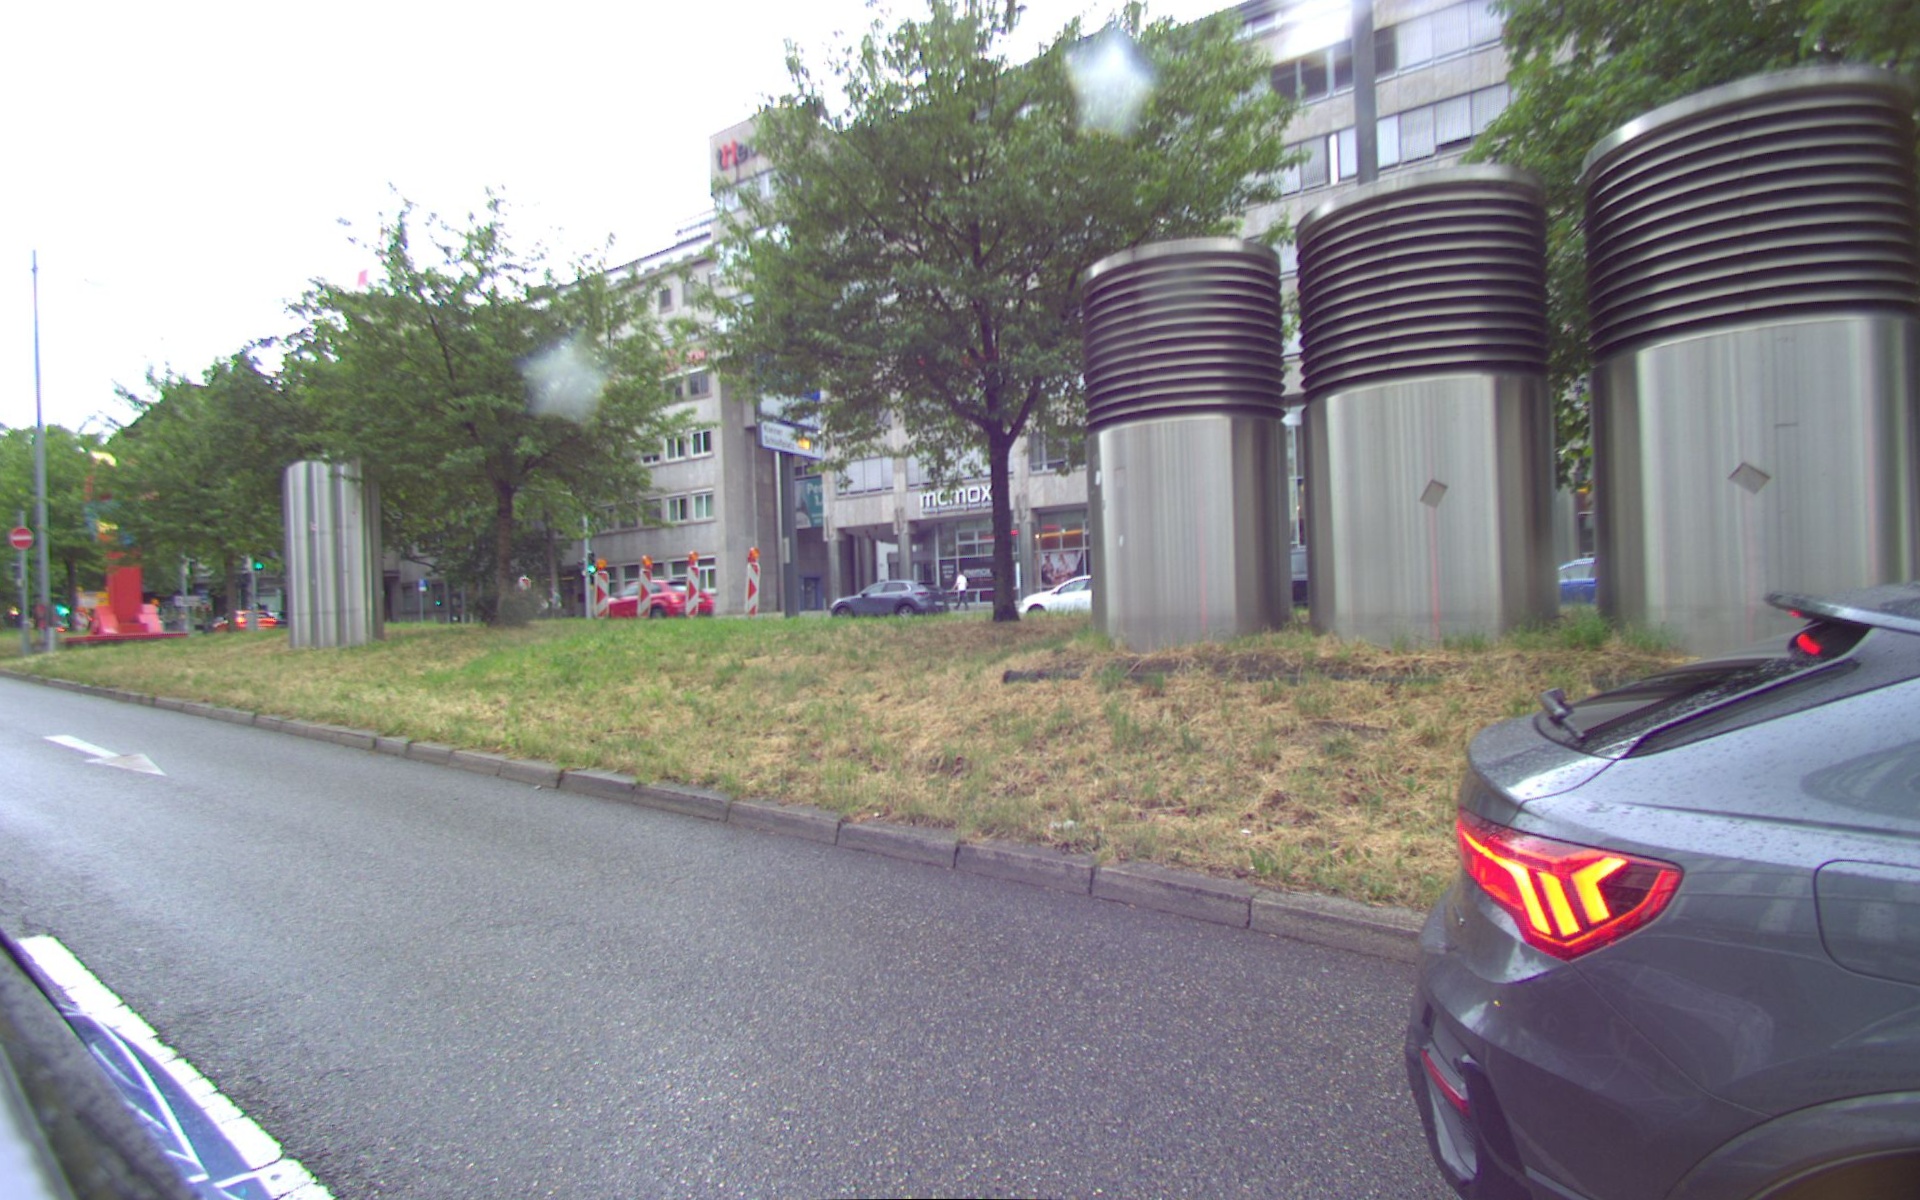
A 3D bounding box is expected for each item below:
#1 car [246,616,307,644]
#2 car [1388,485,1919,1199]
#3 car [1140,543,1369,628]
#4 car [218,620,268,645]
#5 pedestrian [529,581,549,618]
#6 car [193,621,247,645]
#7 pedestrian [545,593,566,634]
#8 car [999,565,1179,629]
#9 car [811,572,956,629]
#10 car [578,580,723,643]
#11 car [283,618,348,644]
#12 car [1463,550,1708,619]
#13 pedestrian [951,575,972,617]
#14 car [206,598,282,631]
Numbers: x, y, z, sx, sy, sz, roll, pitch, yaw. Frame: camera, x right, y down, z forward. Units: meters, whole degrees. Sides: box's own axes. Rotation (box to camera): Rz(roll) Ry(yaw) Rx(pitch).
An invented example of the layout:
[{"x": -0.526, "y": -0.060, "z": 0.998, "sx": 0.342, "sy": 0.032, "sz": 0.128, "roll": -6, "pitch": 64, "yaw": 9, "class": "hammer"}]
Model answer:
[{"x": -42.883, "y": 1.912, "z": 63.471, "sx": 4.461, "sy": 1.634, "sz": 1.844, "roll": -2, "pitch": -1, "yaw": 38, "class": "car"}, {"x": 2.916, "y": 0.603, "z": 0.982, "sx": 4.246, "sy": 1.628, "sz": 1.830, "roll": -2, "pitch": 0, "yaw": 38, "class": "car"}, {"x": 5.787, "y": -0.243, "z": 19.994, "sx": 3.987, "sy": 1.486, "sz": 1.853, "roll": -2, "pitch": 0, "yaw": 33, "class": "car"}, {"x": -46.990, "y": 2.118, "z": 66.326, "sx": 3.687, "sy": 1.514, "sz": 1.670, "roll": -2, "pitch": -1, "yaw": 38, "class": "car"}, {"x": -18.985, "y": -0.027, "z": 45.629, "sx": 0.619, "sy": 1.641, "sz": 0.599, "roll": -2, "pitch": 0, "yaw": 41, "class": "pedestrian"}, {"x": -50.567, "y": 2.262, "z": 69.129, "sx": 4.568, "sy": 1.498, "sz": 1.769, "roll": -2, "pitch": -1, "yaw": 38, "class": "car"}, {"x": -18.059, "y": 0.623, "z": 45.160, "sx": 0.721, "sy": 1.801, "sz": 0.522, "roll": -2, "pitch": 0, "yaw": 42, "class": "pedestrian"}, {"x": 3.628, "y": -0.054, "z": 29.079, "sx": 4.905, "sy": 1.634, "sz": 1.759, "roll": -2, "pitch": -1, "yaw": 38, "class": "car"}, {"x": -2.608, "y": 0.049, "z": 33.739, "sx": 4.785, "sy": 1.739, "sz": 1.844, "roll": -2, "pitch": -1, "yaw": 38, "class": "car"}, {"x": -9.120, "y": 0.351, "z": 29.729, "sx": 3.987, "sy": 1.713, "sz": 1.930, "roll": -2, "pitch": 0, "yaw": 33, "class": "car"}, {"x": -38.568, "y": 1.870, "z": 60.550, "sx": 4.559, "sy": 1.440, "sz": 1.844, "roll": -2, "pitch": -1, "yaw": 38, "class": "car"}, {"x": 13.854, "y": -0.315, "z": 22.615, "sx": 4.465, "sy": 1.335, "sz": 1.876, "roll": -2, "pitch": 0, "yaw": 34, "class": "car"}, {"x": 0.057, "y": -0.178, "z": 44.779, "sx": 0.528, "sy": 1.801, "sz": 0.712, "roll": -2, "pitch": 0, "yaw": 38, "class": "pedestrian"}, {"x": -34.738, "y": 0.702, "z": 49.082, "sx": 4.125, "sy": 1.440, "sz": 1.845, "roll": -2, "pitch": -1, "yaw": 37, "class": "car"}]
